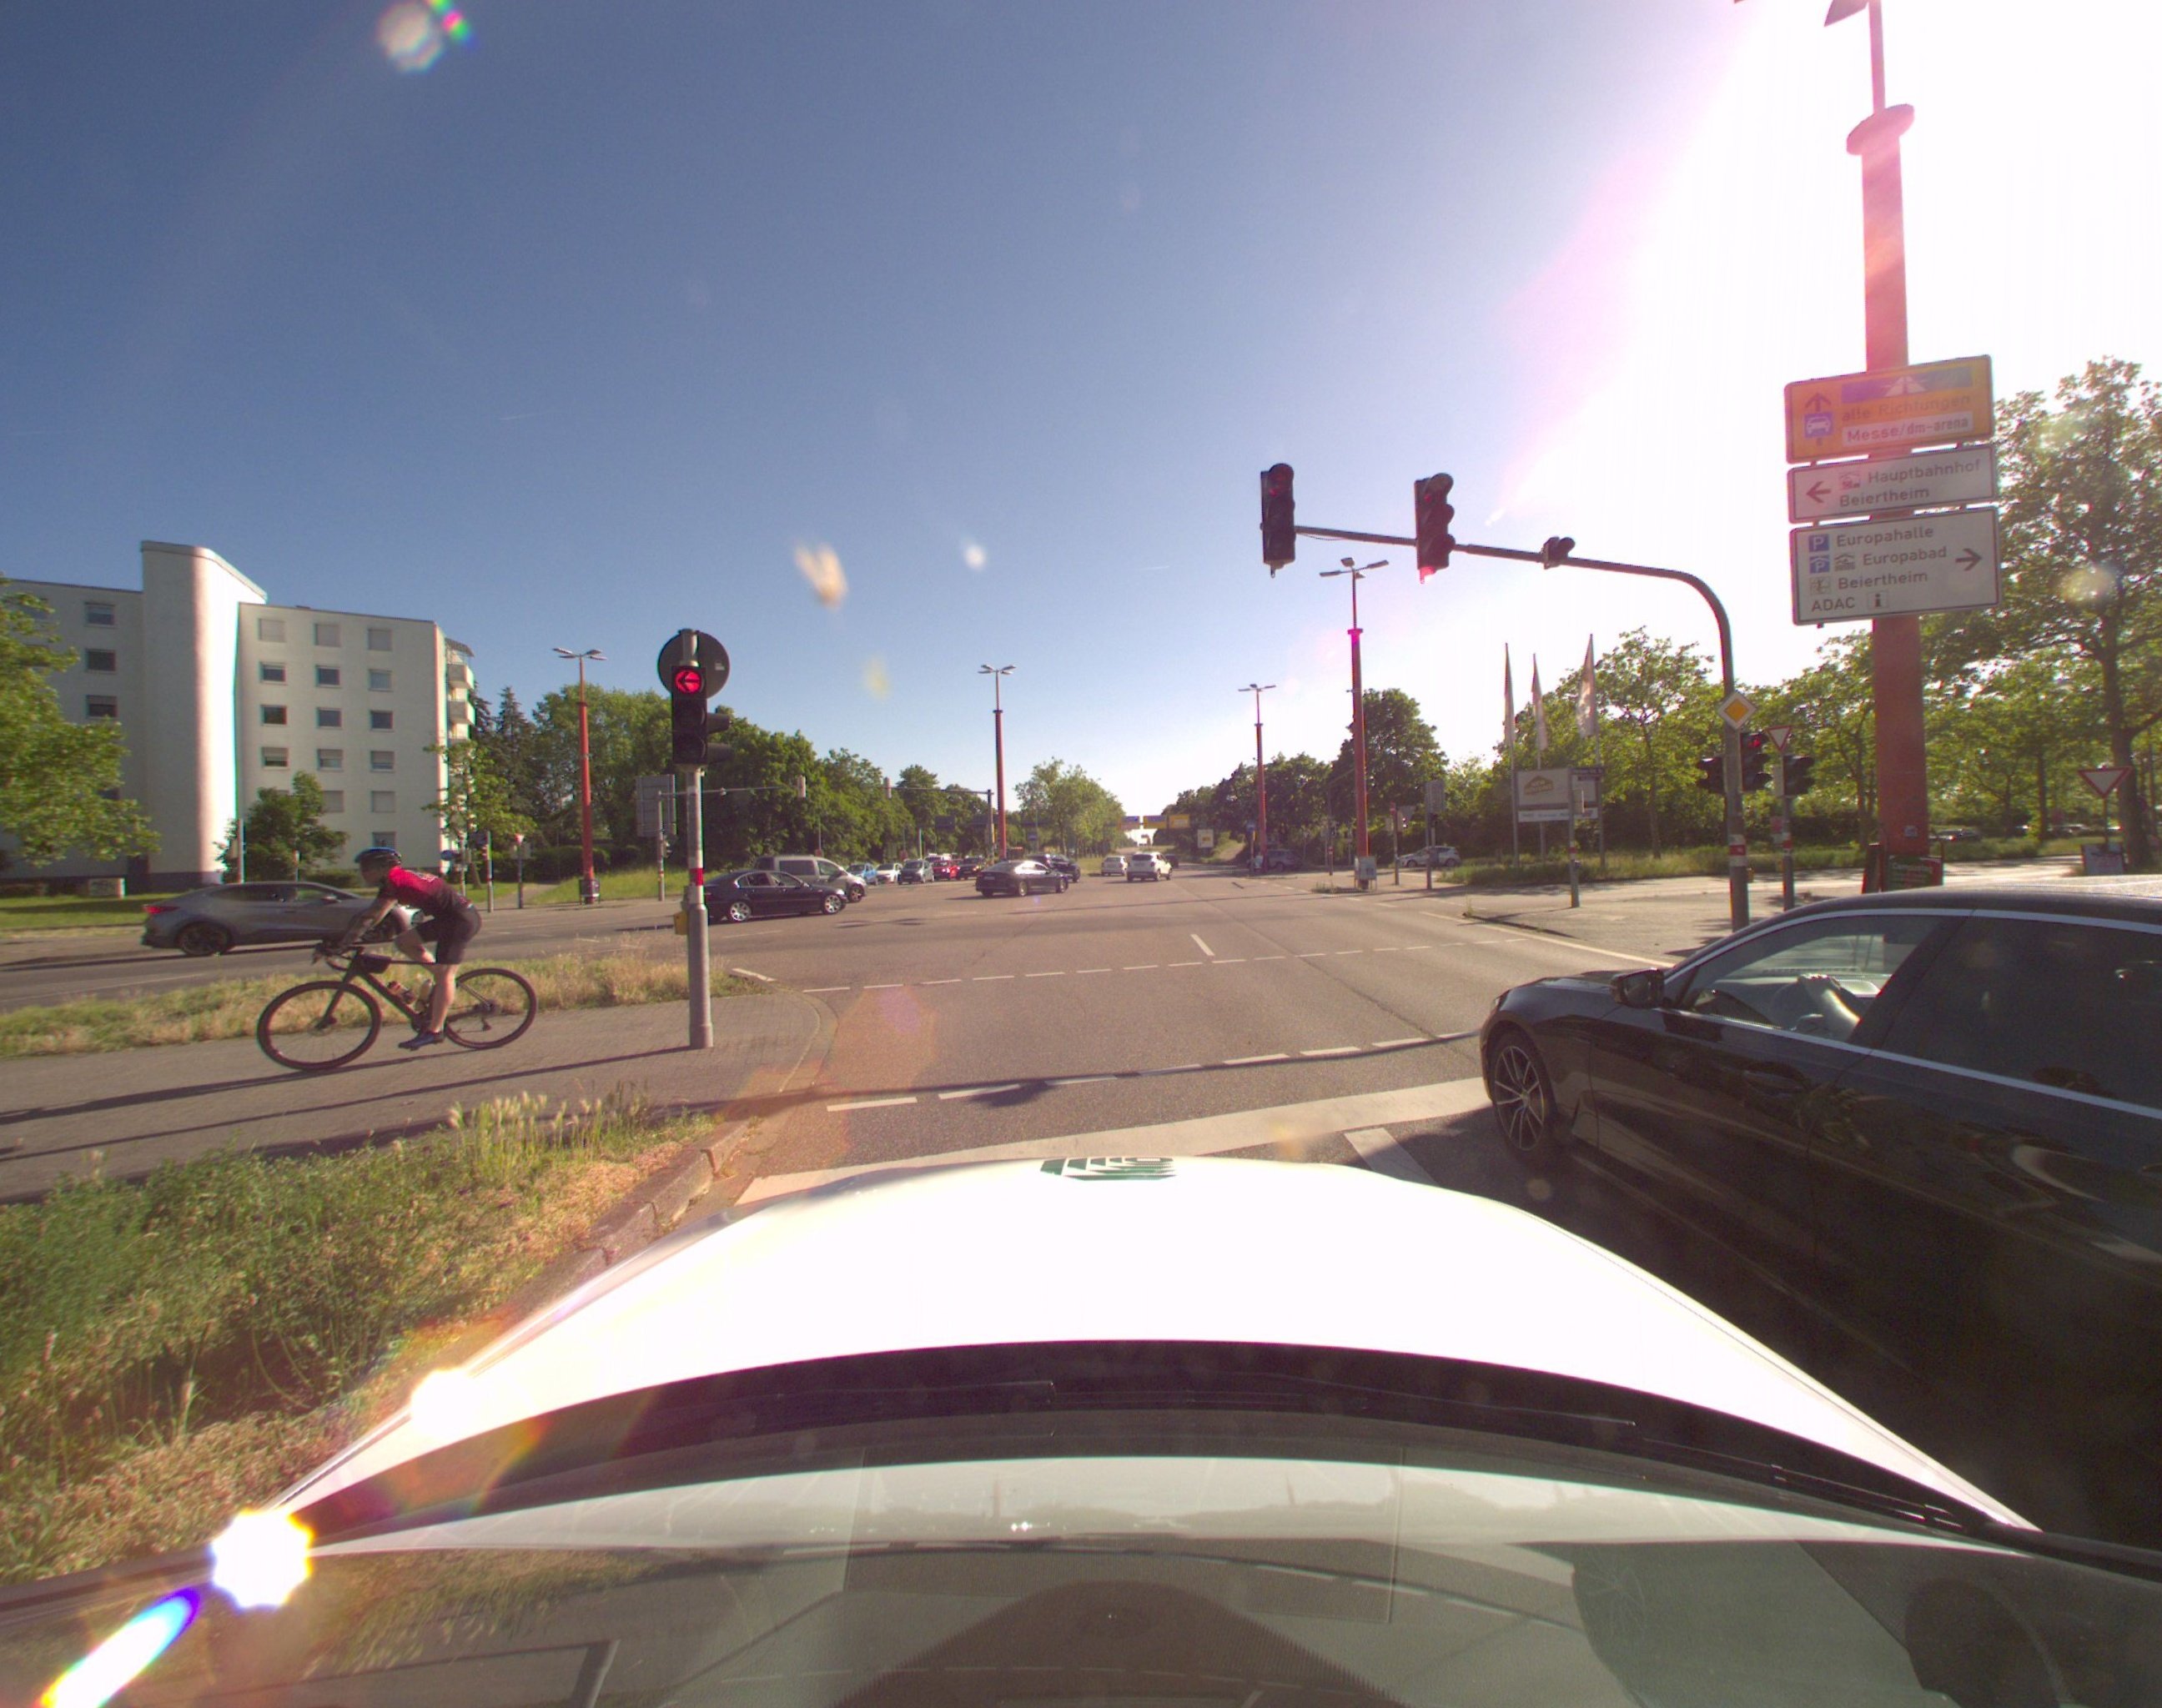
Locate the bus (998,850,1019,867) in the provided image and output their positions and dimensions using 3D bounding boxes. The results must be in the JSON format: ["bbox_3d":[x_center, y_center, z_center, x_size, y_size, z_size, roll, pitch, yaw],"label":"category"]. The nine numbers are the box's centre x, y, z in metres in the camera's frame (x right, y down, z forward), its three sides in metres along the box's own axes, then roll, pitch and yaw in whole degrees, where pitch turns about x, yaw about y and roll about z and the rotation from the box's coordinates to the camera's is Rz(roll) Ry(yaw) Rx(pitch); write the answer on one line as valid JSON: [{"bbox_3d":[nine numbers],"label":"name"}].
[{"bbox_3d":[-14.996,0.928,169.363,2.480,3.238,10.012,-2,0,4],"label":"bus"}]

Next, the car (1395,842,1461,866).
[{"bbox_3d":[23.651,-0.004,55.672,3.951,1.467,1.691,-2,0,16],"label":"car"}]

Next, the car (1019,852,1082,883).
[{"bbox_3d":[-1.579,0.683,43.893,1.836,1.545,4.284,-2,0,21],"label":"car"}]

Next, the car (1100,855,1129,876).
[{"bbox_3d":[2.421,0.817,57.808,1.474,1.346,4.011,-1,-1,10],"label":"car"}]

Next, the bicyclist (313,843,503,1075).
[{"bbox_3d":[-5.499,0.798,6.726,0.998,1.741,0.731,-2,0,-22],"label":"bicyclist"}]

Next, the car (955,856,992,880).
[{"bbox_3d":[-7.397,0.936,56.403,1.812,1.508,4.002,-2,0,2],"label":"car"}]

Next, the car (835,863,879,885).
[{"bbox_3d":[-14.087,1.214,51.417,1.733,1.243,3.613,-2,0,1],"label":"car"}]

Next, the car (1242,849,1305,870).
[{"bbox_3d":[14.651,0.408,62.054,4.274,1.485,1.796,-2,0,40],"label":"car"}]

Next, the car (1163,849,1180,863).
[{"bbox_3d":[9.895,0.238,89.072,1.671,1.435,4.074,-2,0,8],"label":"car"}]

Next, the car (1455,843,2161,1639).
[{"bbox_3d":[2.926,0.689,2.373,1.861,1.398,4.448,-2,0,4],"label":"car"}]

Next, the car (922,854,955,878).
[{"bbox_3d":[-12.470,1.029,71.379,1.886,2.026,5.223,0,-1,1],"label":"car"}]

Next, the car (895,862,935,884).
[{"bbox_3d":[-10.603,1.190,52.304,1.733,1.243,3.613,-2,0,1],"label":"car"}]

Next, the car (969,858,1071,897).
[{"bbox_3d":[-2.322,0.884,32.247,1.743,1.350,4.390,-2,0,31],"label":"car"}]

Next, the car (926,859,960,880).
[{"bbox_3d":[-9.906,1.089,58.664,1.733,1.362,3.613,-2,0,1],"label":"car"}]

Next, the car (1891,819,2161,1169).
[{"bbox_3d":[5.674,0.603,2.861,1.732,1.578,4.032,-2,0,3],"label":"car"}]

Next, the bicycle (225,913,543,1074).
[{"bbox_3d":[-5.629,1.088,6.725,1.831,1.057,0.718,-2,0,-20],"label":"bicycle"}]

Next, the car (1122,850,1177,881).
[{"bbox_3d":[3.910,0.623,45.994,1.806,1.636,4.276,-2,0,23],"label":"car"}]

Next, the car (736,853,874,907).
[{"bbox_3d":[-9.770,0.864,29.134,1.828,1.708,4.334,-2,0,39],"label":"car"}]

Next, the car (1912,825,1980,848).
[{"bbox_3d":[66.527,-1.358,62.665,3.991,1.578,1.861,-2,0,-13],"label":"car"}]

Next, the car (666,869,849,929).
[{"bbox_3d":[-8.854,1.171,22.601,1.743,1.350,4.390,-2,0,42],"label":"car"}]

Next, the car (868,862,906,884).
[{"bbox_3d":[-13.671,1.321,57.526,1.733,1.411,3.613,-2,0,1],"label":"car"}]

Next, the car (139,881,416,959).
[{"bbox_3d":[-18.522,1.445,19.131,4.460,1.422,1.815,-2,0,-40],"label":"car"}]
